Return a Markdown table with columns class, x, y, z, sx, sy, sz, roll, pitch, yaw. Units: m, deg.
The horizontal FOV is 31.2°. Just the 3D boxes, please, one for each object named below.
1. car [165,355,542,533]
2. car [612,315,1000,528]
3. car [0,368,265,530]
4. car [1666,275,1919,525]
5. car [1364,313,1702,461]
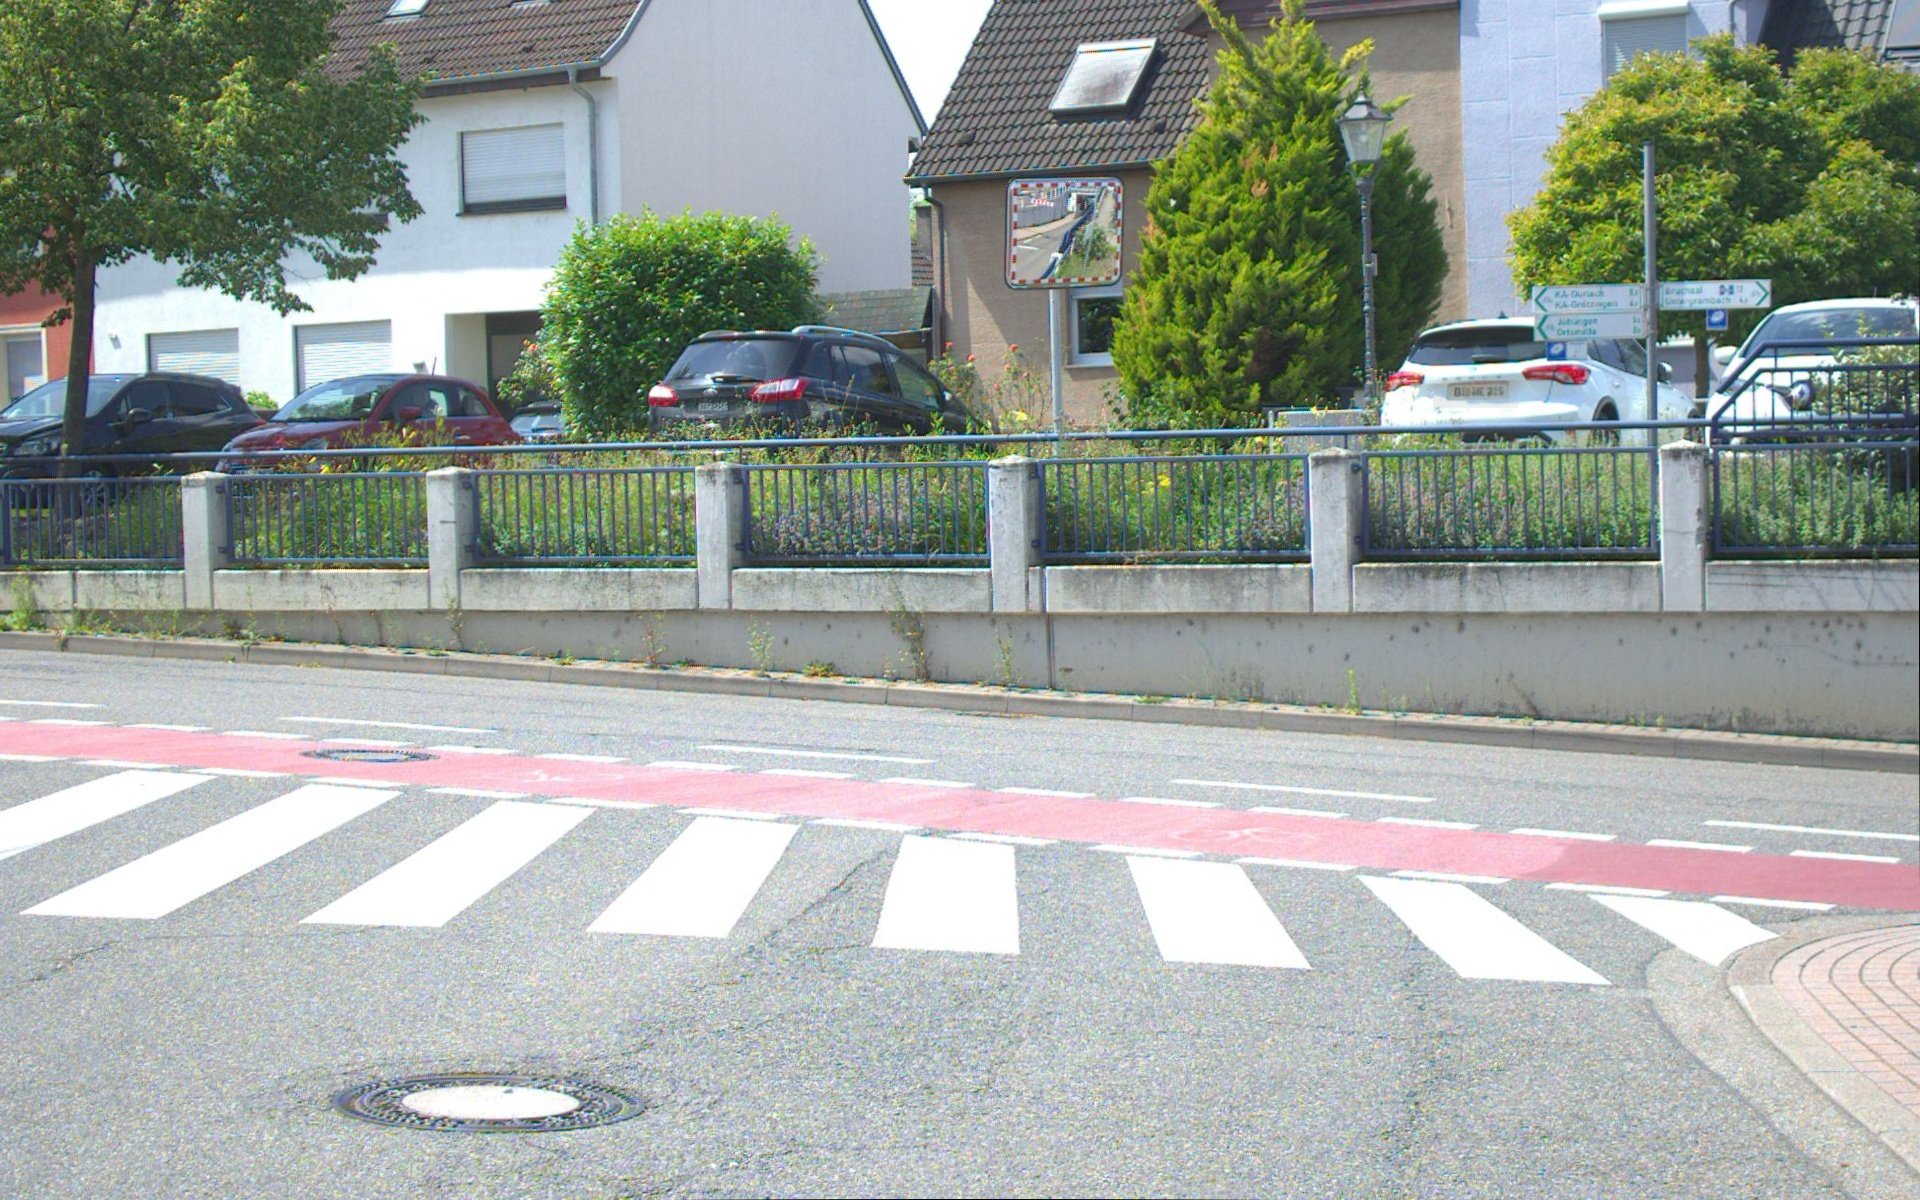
| class | x | y | z | sx | sy | sz | roll | pitch | yaw |
| --- | --- | --- | --- | --- | --- | --- | --- | --- | --- |
| car | -5.970 | -1.522 | 34.229 | 1.870 | 1.581 | 3.605 | 4 | 3 | 26 |
| car | -1.364 | -1.629 | 32.239 | 1.870 | 1.790 | 3.994 | 4 | 3 | 26 |
| car | -9.229 | -1.584 | 36.242 | 1.870 | 1.581 | 3.605 | 4 | 3 | 26 |
| car | 7.222 | -1.532 | 27.534 | 1.996 | 1.790 | 4.191 | 4 | 3 | 26 |
| car | 4.837 | -1.751 | 28.684 | 1.828 | 1.016 | 3.454 | 4 | 3 | 26 |
